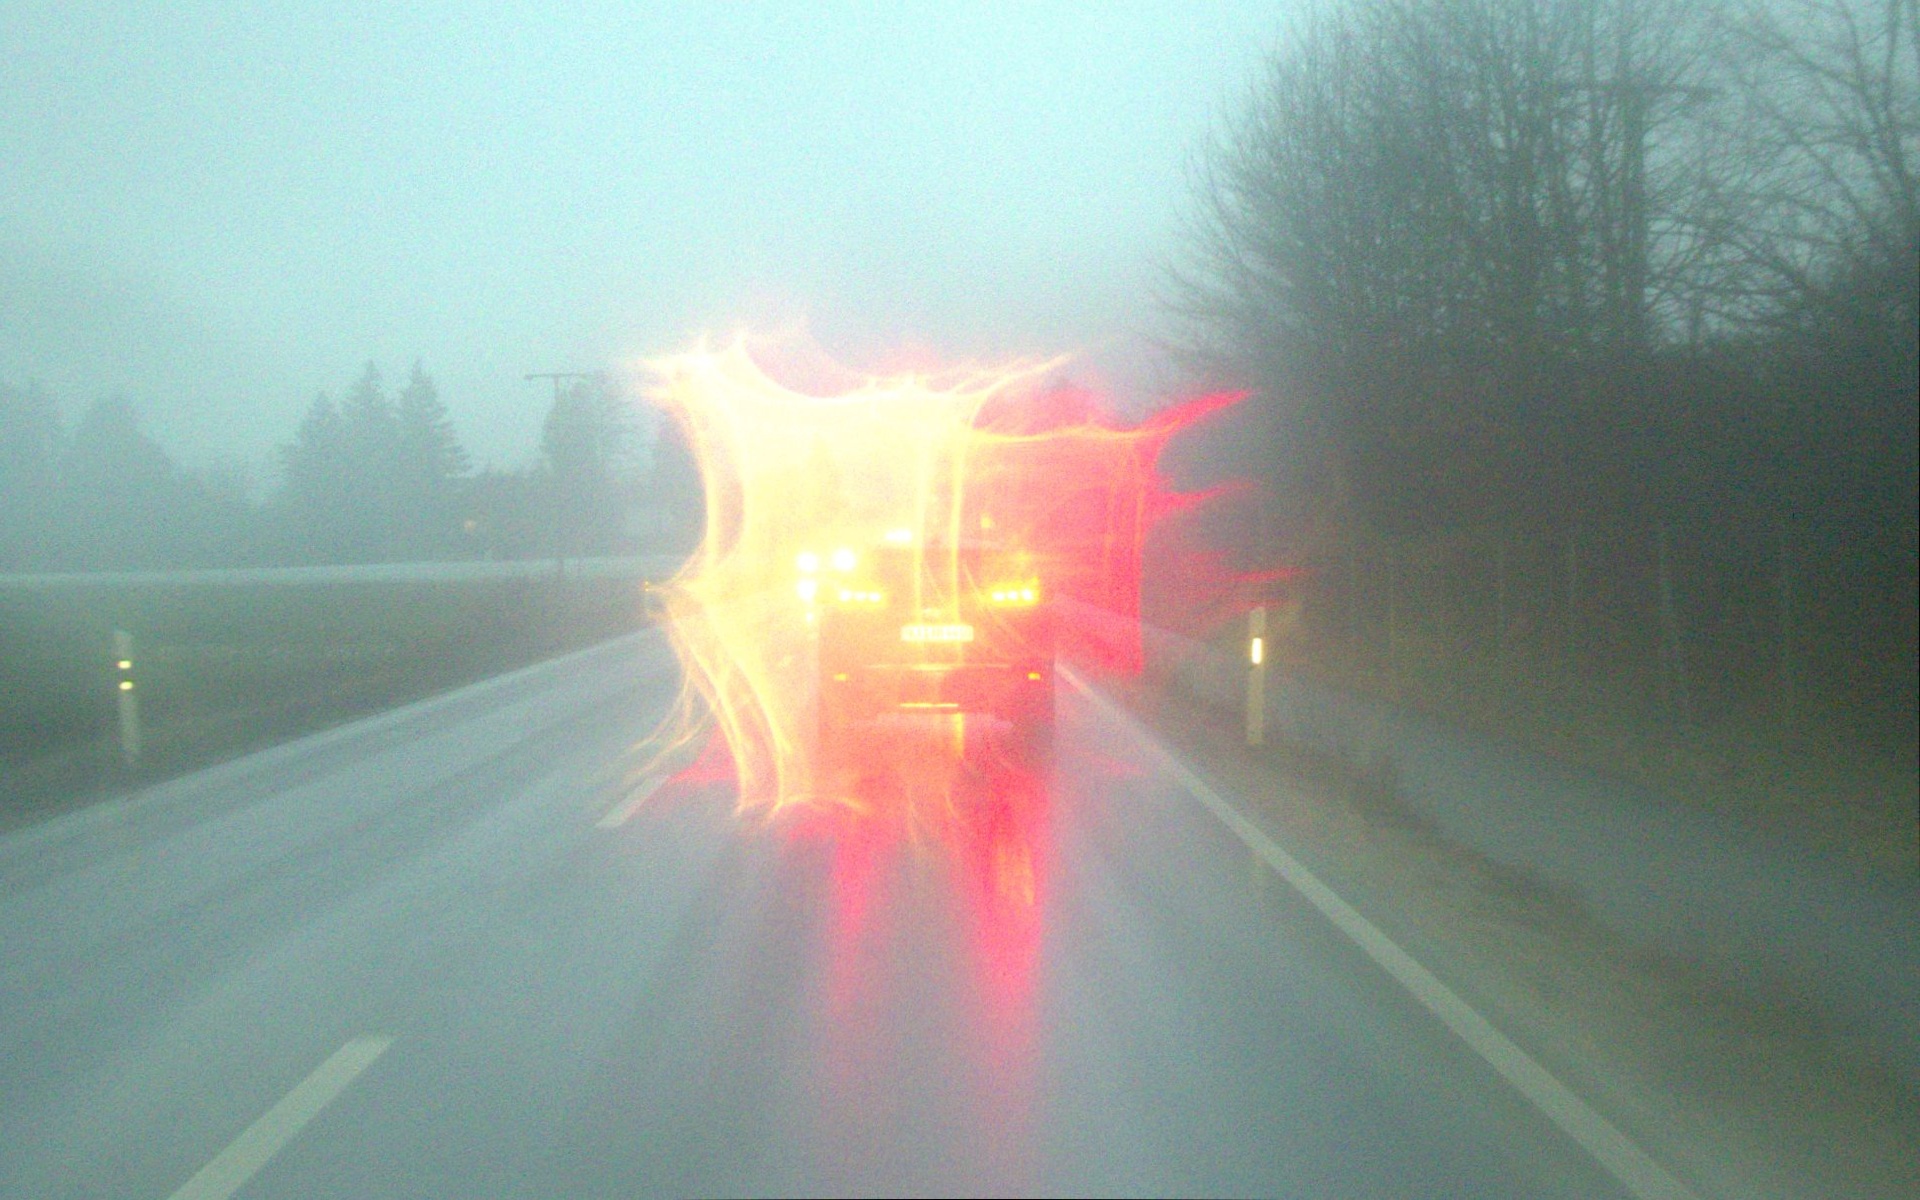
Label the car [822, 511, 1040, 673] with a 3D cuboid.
[{"bbox_3d":[-0.385,-0.175,47.401,2.756,2.028,6.591,-1,1,0],"label":"car"}]

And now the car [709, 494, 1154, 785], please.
[{"bbox_3d":[-0.214,0.209,28.157,3.164,2.028,6.852,-1,1,0],"label":"car"}]
